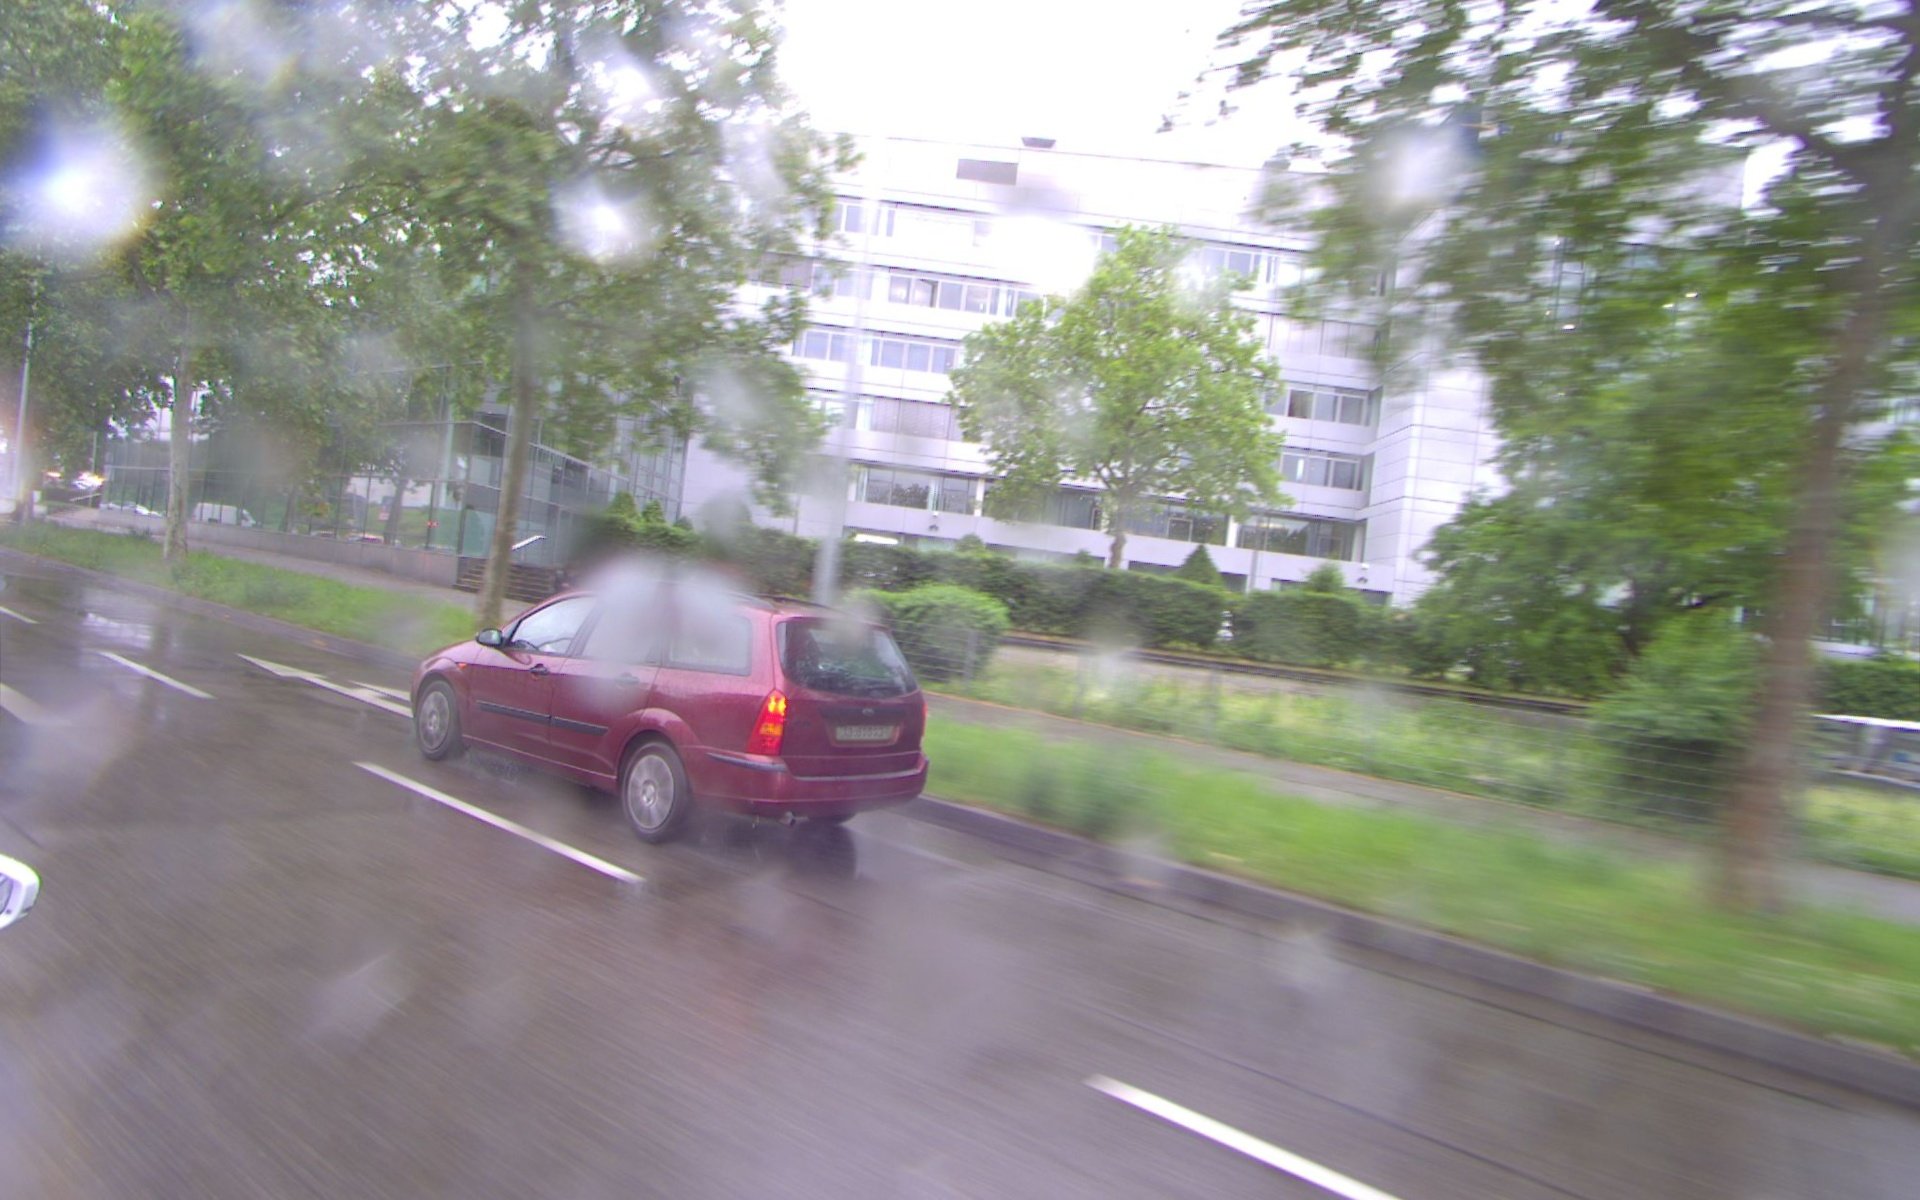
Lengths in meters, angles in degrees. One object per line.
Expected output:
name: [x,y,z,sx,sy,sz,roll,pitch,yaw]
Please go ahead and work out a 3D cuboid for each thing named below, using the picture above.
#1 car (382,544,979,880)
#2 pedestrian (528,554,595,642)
car: [-2.119,0.618,7.205,4.047,1.554,1.841,6,-2,35]
pedestrian: [-8.736,-0.047,22.034,1.057,1.783,0.665,7,0,30]
